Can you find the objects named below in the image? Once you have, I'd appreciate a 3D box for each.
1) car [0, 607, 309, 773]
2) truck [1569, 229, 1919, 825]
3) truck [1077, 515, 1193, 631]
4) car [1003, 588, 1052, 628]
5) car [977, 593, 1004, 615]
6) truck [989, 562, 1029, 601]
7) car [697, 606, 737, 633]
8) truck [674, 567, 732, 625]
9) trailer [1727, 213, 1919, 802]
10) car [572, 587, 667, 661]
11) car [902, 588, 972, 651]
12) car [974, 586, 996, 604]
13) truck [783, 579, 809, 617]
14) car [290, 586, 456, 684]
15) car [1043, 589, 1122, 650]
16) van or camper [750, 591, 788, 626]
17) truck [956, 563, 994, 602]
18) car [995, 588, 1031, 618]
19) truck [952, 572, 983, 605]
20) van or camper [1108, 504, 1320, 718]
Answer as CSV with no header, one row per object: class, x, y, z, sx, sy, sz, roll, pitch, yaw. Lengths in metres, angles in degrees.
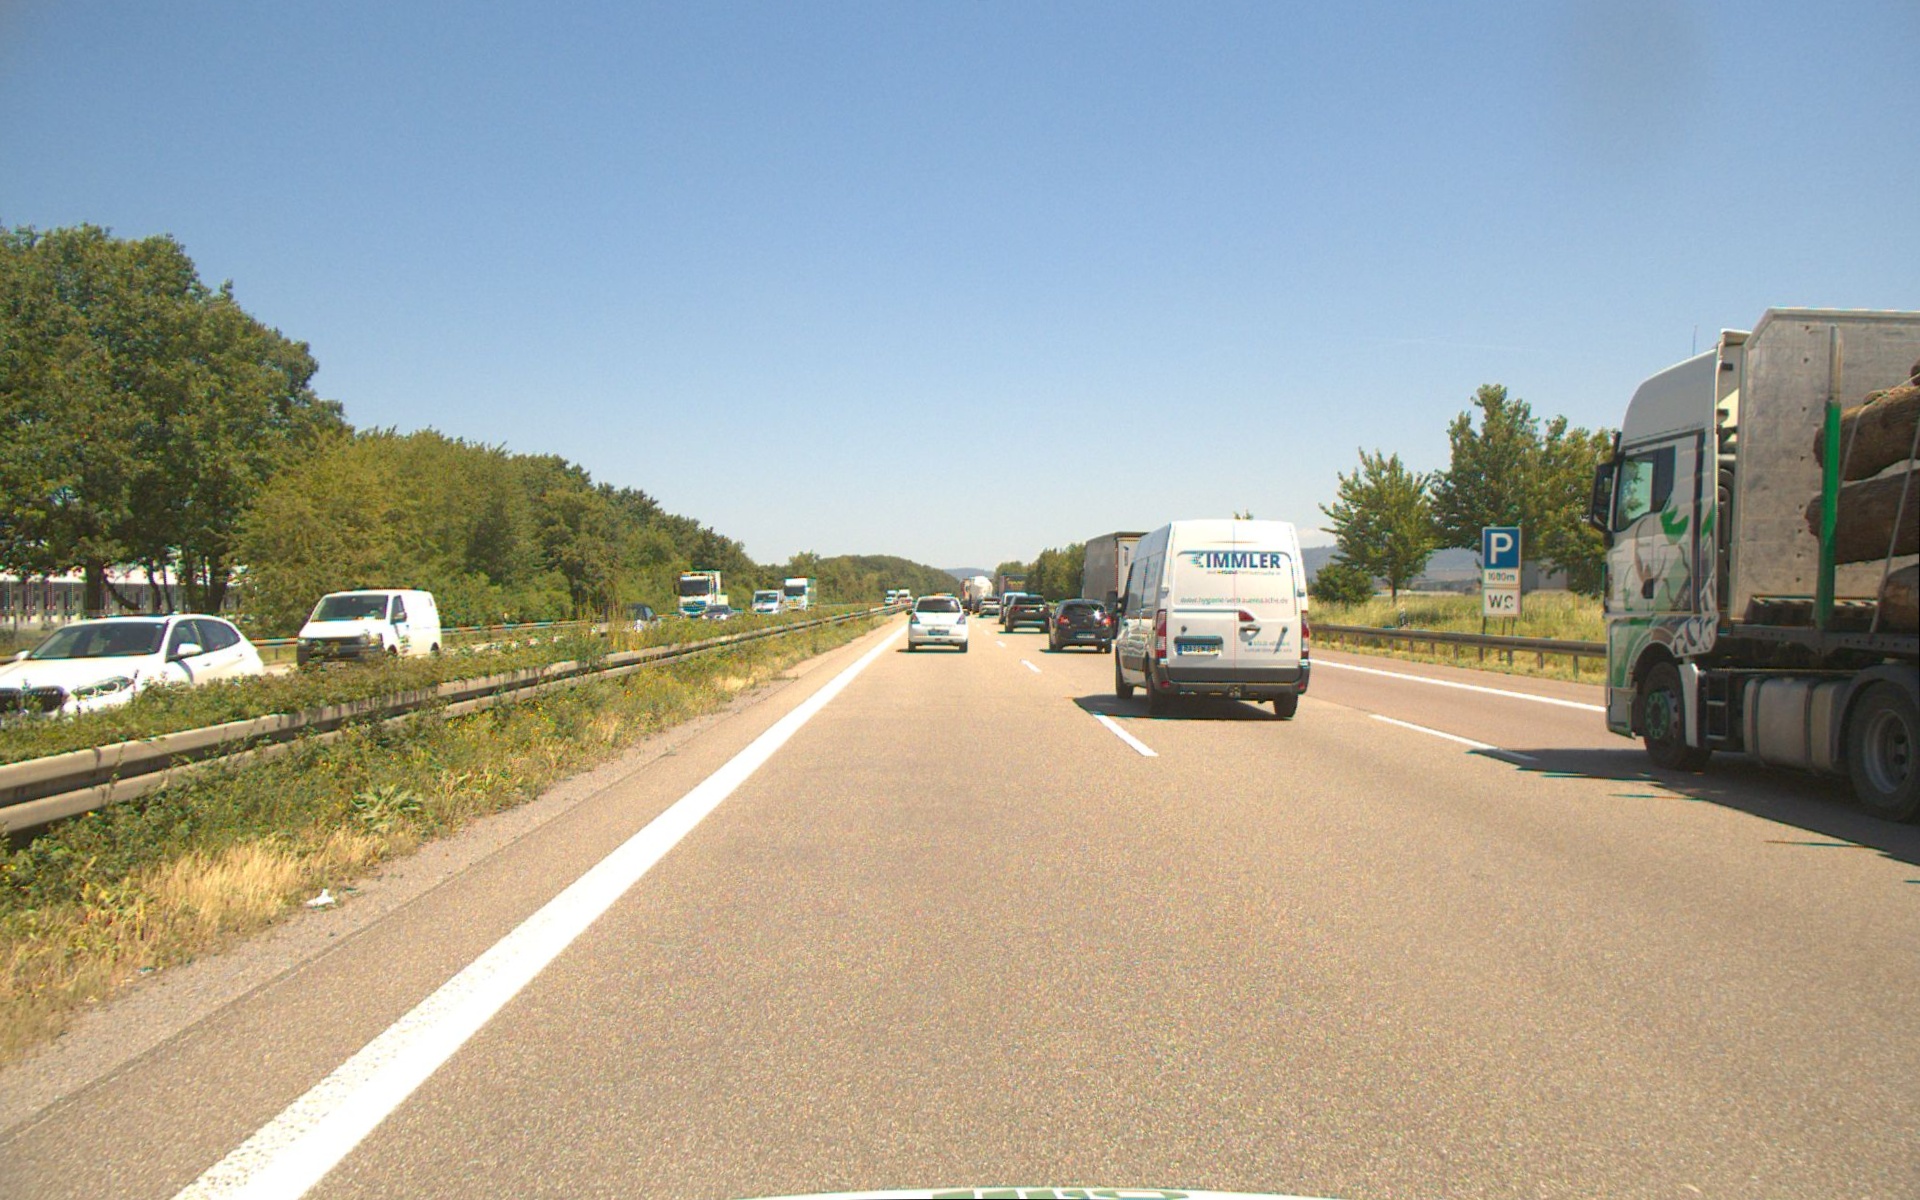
car,-9.321,0.920,18.910,1.882,1.555,4.866,-2,0,-2
truck,7.810,-0.510,14.188,2.615,4.064,6.635,0,0,-1
truck,7.202,-1.052,70.909,3.016,4.282,16.842,1,0,0
car,2.964,0.342,72.958,1.820,1.681,3.998,0,0,-2
car,2.350,0.309,127.724,1.820,1.681,3.998,0,0,-2
truck,5.703,-2.146,194.931,3.193,4.282,16.832,1,0,-3
car,-14.360,1.150,98.105,1.820,1.464,4.596,-2,0,-2
truck,-18.022,-0.312,116.544,2.552,3.827,9.863,-2,0,-1
trailer,7.925,-0.597,7.258,2.599,4.028,13.634,0,0,-1
car,-9.659,0.656,47.193,1.955,1.946,3.998,-2,0,-2
car,-0.688,0.521,46.670,1.820,1.681,3.998,1,0,-2
car,2.271,-0.467,153.752,1.820,1.681,3.998,0,0,-2
truck,-18.379,-0.197,185.850,2.367,4.165,5.880,0,0,-1
car,-12.890,0.716,36.712,1.955,1.946,5.209,-2,0,-2
car,3.491,0.533,47.847,1.820,1.681,3.998,0,0,-2
van or camper,-13.604,0.571,118.345,2.016,2.394,6.075,-2,0,-1
truck,1.615,-1.968,191.824,3.193,4.282,16.832,1,0,-3
car,3.100,0.177,97.104,1.820,1.681,3.998,0,0,-2
truck,0.929,-1.592,228.816,3.193,4.282,16.832,1,0,-3
van or camper,3.442,0.124,23.621,2.016,2.668,5.984,0,0,-1
